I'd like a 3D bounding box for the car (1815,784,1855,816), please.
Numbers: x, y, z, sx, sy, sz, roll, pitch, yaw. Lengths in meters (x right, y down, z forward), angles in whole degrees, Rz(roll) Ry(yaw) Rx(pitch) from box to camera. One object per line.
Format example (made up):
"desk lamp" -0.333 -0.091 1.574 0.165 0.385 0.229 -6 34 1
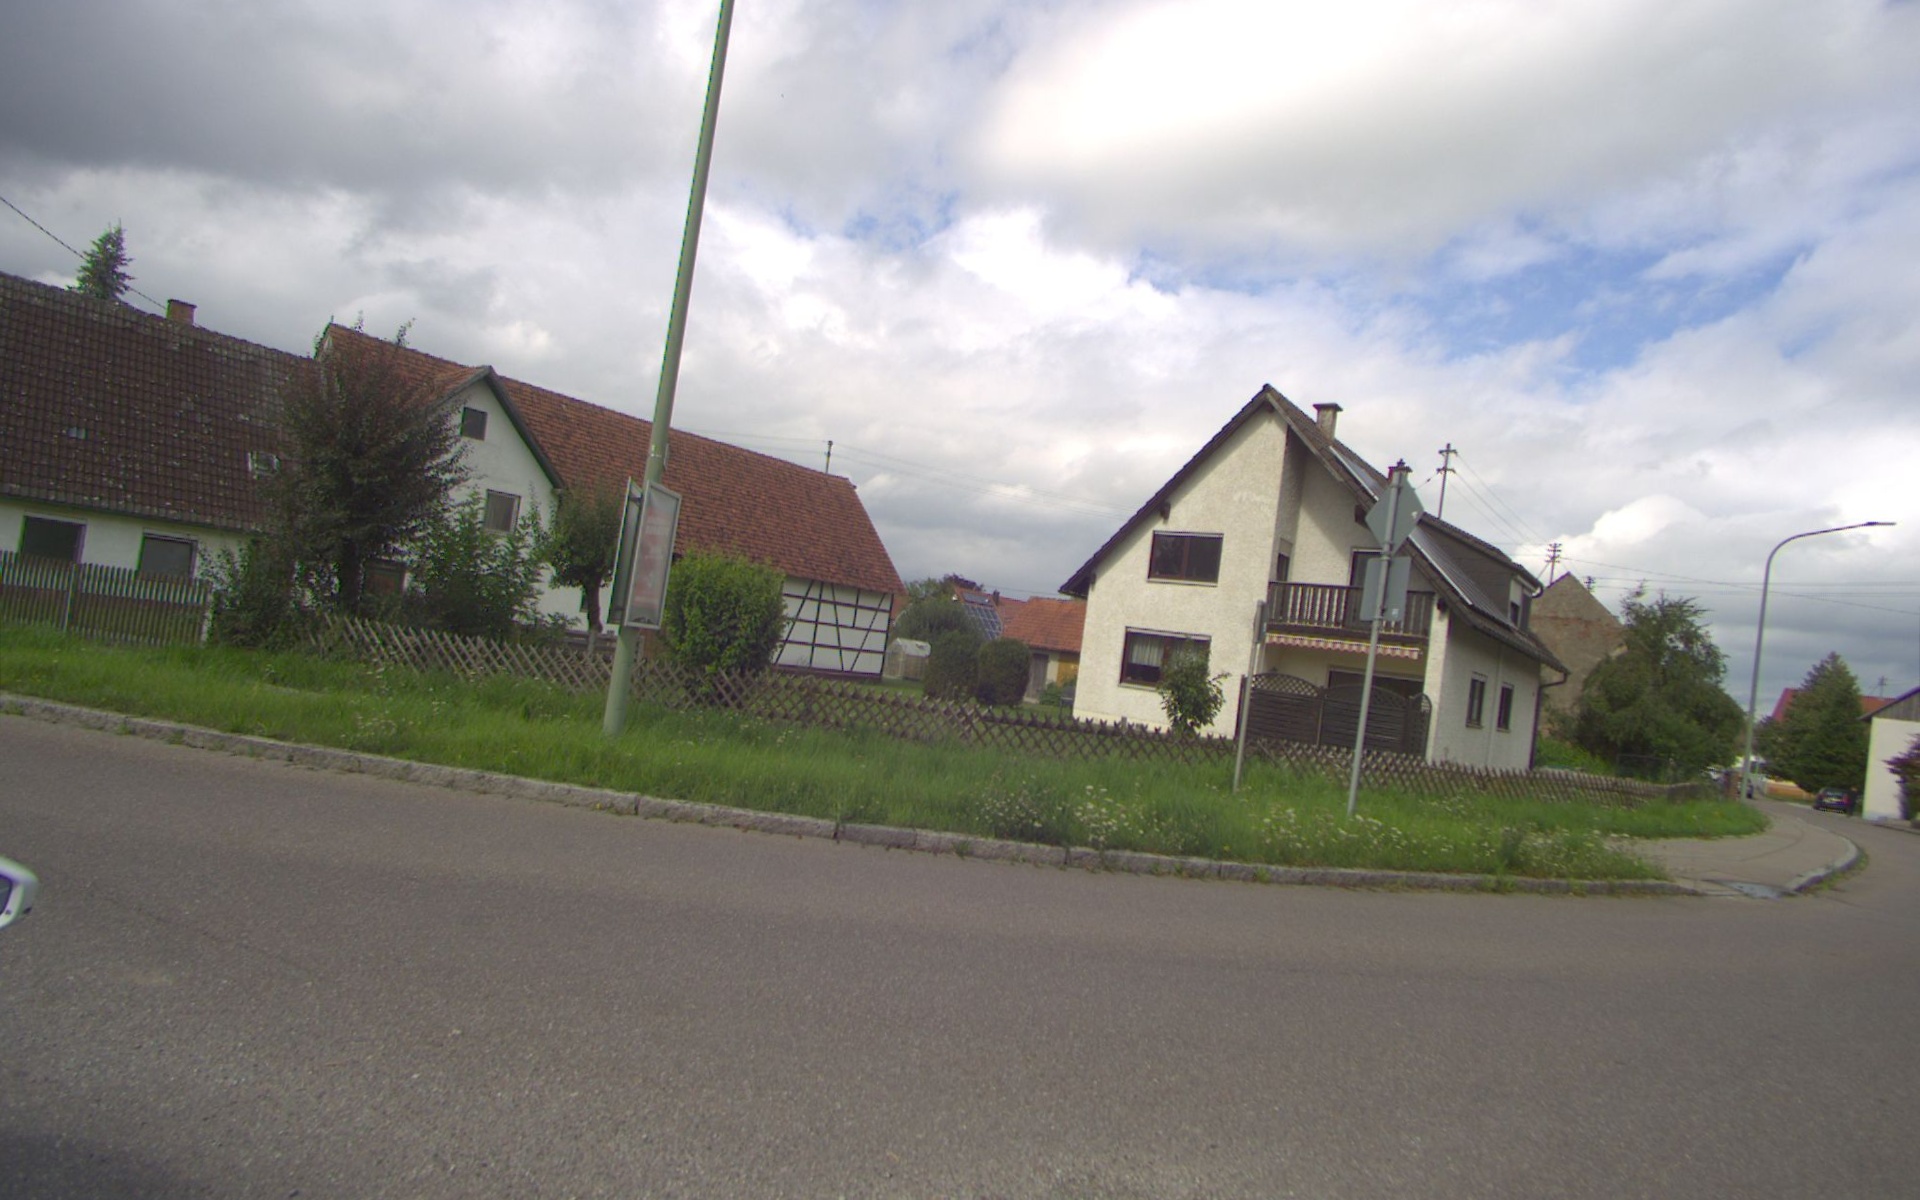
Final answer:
"car" 54.919 12.533 63.200 1.706 1.624 3.986 6 -3 40

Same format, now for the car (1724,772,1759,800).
"car" 55.467 13.165 71.368 1.706 1.624 3.986 6 -3 40
